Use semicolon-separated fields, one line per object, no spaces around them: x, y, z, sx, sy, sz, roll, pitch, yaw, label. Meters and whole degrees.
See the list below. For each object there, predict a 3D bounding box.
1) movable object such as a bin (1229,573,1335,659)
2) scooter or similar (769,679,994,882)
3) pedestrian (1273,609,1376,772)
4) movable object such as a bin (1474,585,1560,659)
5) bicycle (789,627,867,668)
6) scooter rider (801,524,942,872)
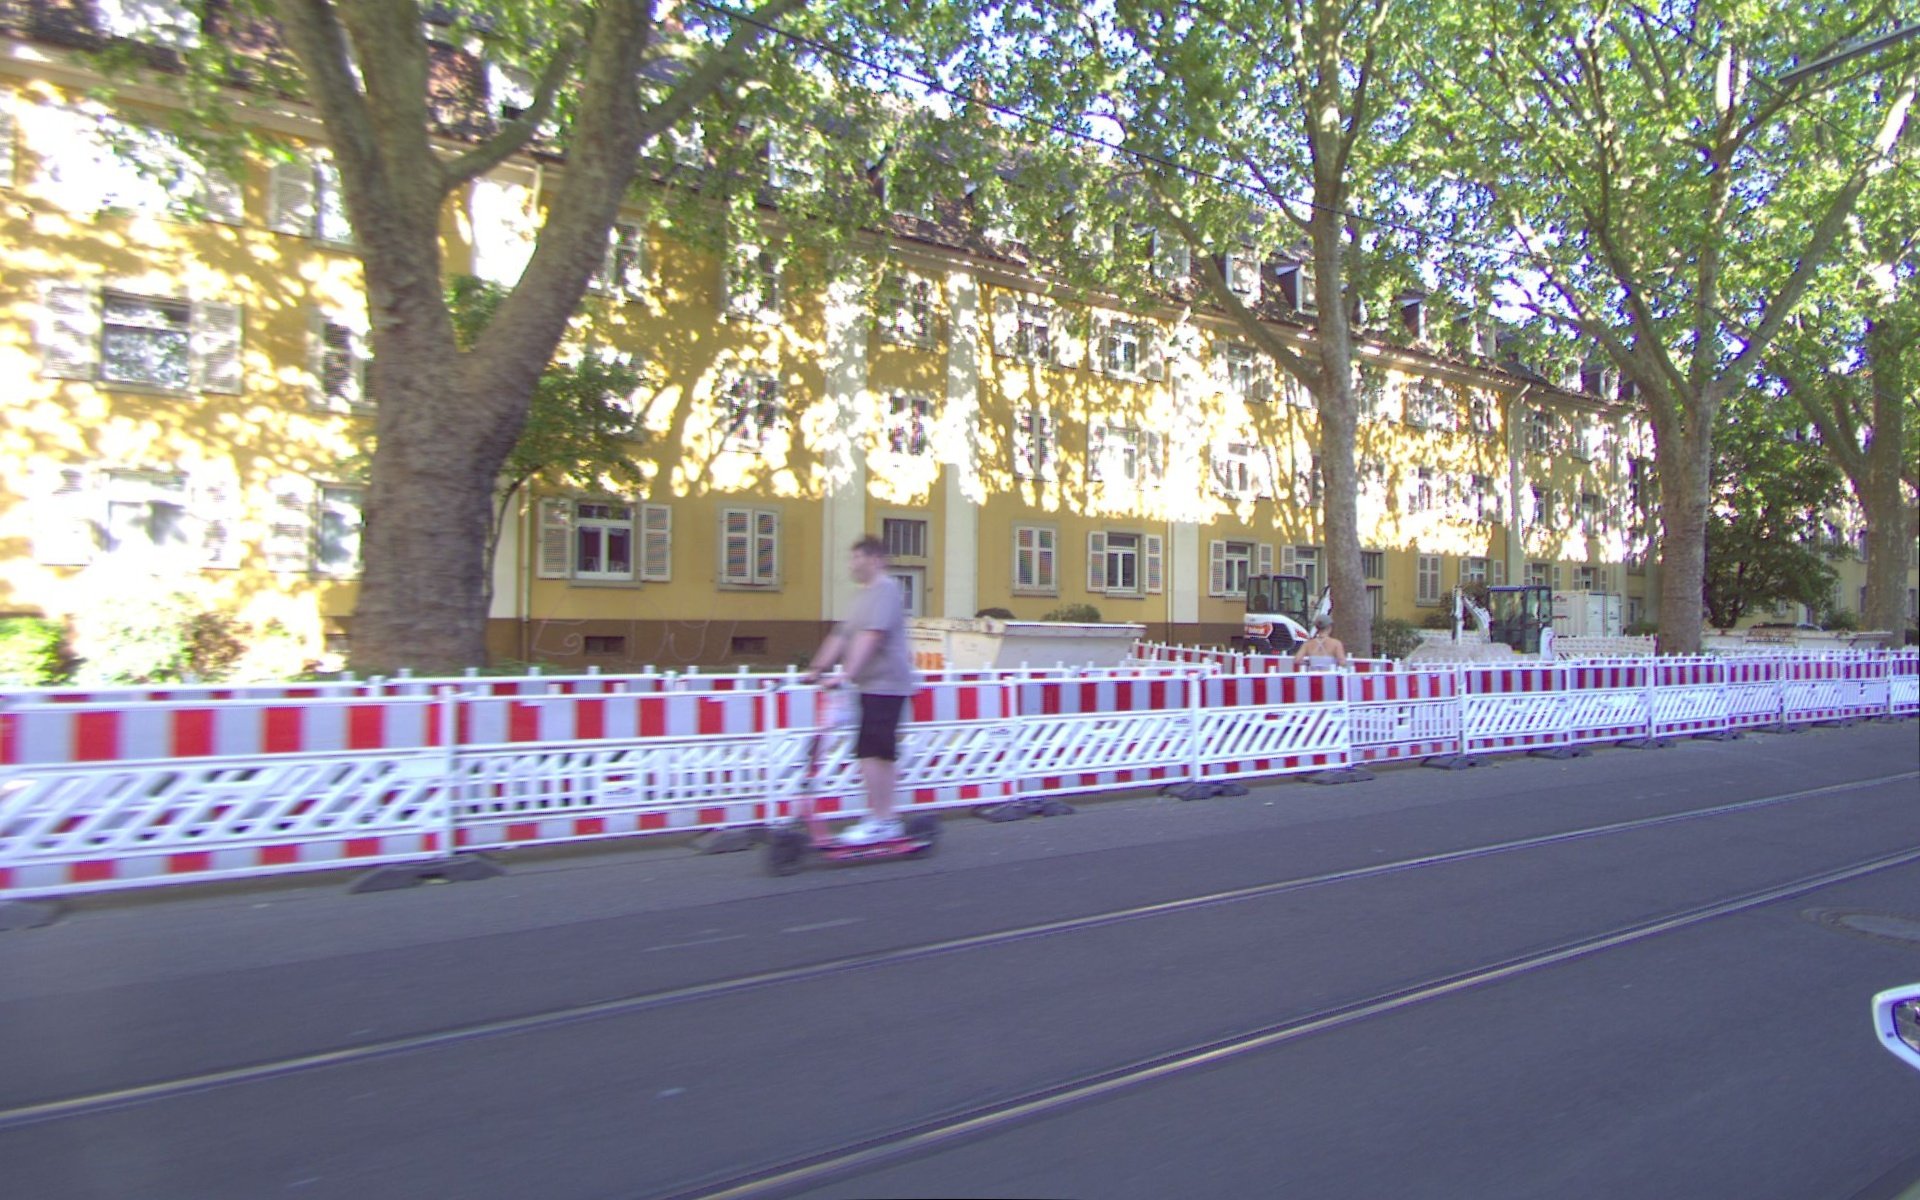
7.427;0.375;23.205;1.984;1.893;1.327;1;0;-30;movable object such as a bin
-0.465;1.062;6.182;1.322;1.097;0.406;1;0;-30;scooter or similar
3.975;0.954;10.967;0.769;1.691;0.713;1;0;-30;pedestrian
12.958;0.504;23.379;1.541;1.667;1.092;1;0;-30;movable object such as a bin
-2.820;1.007;21.554;1.627;0.829;0.503;1;-1;-34;bicycle
-0.550;0.563;6.155;0.616;1.983;0.646;1;0;-29;scooter rider
